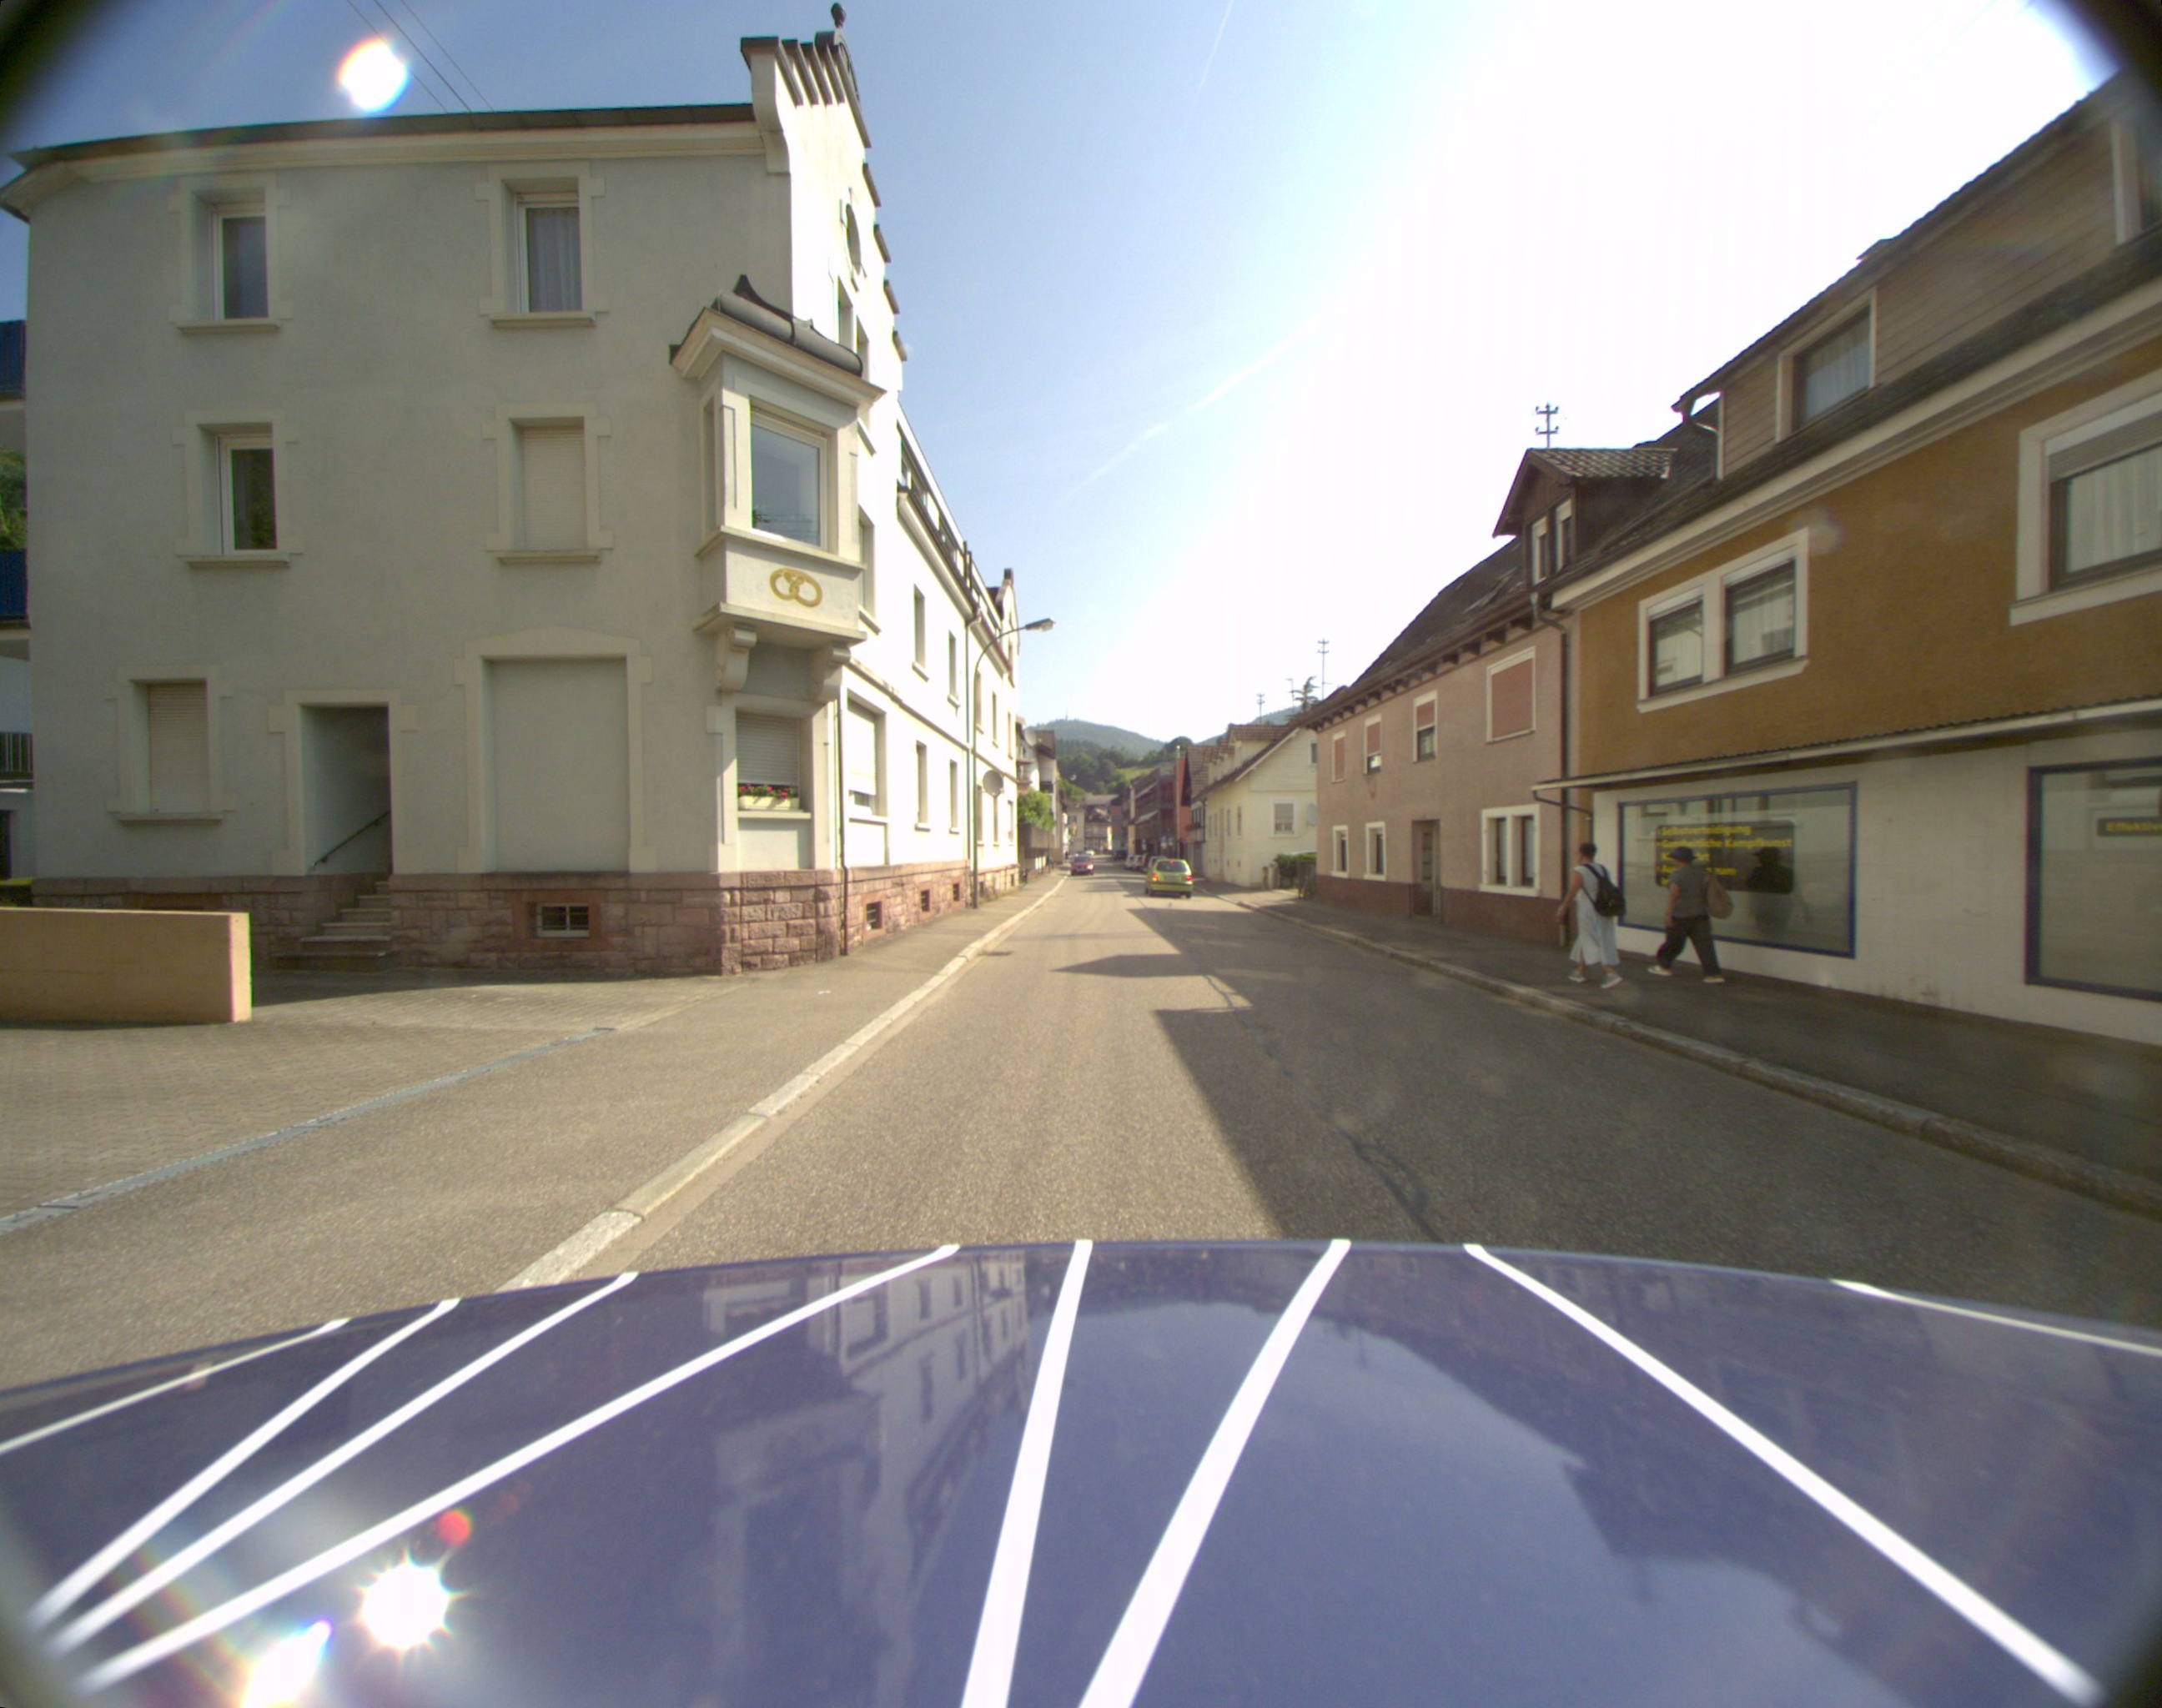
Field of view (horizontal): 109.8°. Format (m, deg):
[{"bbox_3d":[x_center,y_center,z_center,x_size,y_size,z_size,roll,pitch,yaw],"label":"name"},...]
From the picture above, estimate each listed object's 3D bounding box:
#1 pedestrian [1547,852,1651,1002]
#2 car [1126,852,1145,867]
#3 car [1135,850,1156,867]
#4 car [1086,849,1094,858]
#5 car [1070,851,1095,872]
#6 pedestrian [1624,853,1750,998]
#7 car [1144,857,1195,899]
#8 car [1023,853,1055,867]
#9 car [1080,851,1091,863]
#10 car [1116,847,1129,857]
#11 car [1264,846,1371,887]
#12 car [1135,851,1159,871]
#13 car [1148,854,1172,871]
[{"bbox_3d":[5.849,0.796,8.619,0.641,1.617,0.777,-1,1,2],"label":"pedestrian"},{"bbox_3d":[5.862,0.601,82.337,1.678,1.546,3.764,-1,0,-1],"label":"car"},{"bbox_3d":[6.374,0.463,75.718,1.679,1.580,3.948,-1,0,-1],"label":"car"},{"bbox_3d":[2.170,-0.045,174.956,1.742,2.002,3.840,-1,0,1],"label":"car"},{"bbox_3d":[0.075,0.615,60.167,1.822,1.652,4.000,0,-1,-2],"label":"car"},{"bbox_3d":[6.912,0.779,8.707,0.736,1.555,0.824,-3,1,1],"label":"pedestrian"},{"bbox_3d":[3.470,0.894,30.289,1.600,1.456,3.659,3,0,1],"label":"car"},{"bbox_3d":[-5.043,0.730,92.041,3.837,1.470,1.700,-2,0,-2],"label":"car"},{"bbox_3d":[0.869,0.573,143.602,1.998,2.002,3.999,-2,1,1],"label":"car"},{"bbox_3d":[6.733,-0.325,124.143,1.787,1.566,3.888,-3,1,-1],"label":"car"},{"bbox_3d":[10.229,0.524,33.046,3.998,1.584,1.907,-2,1,-2],"label":"car"},{"bbox_3d":[6.056,0.592,69.987,1.725,1.786,4.268,-1,0,-2],"label":"car"},{"bbox_3d":[6.663,0.714,64.706,1.670,1.423,3.569,-2,0,1],"label":"car"}]
